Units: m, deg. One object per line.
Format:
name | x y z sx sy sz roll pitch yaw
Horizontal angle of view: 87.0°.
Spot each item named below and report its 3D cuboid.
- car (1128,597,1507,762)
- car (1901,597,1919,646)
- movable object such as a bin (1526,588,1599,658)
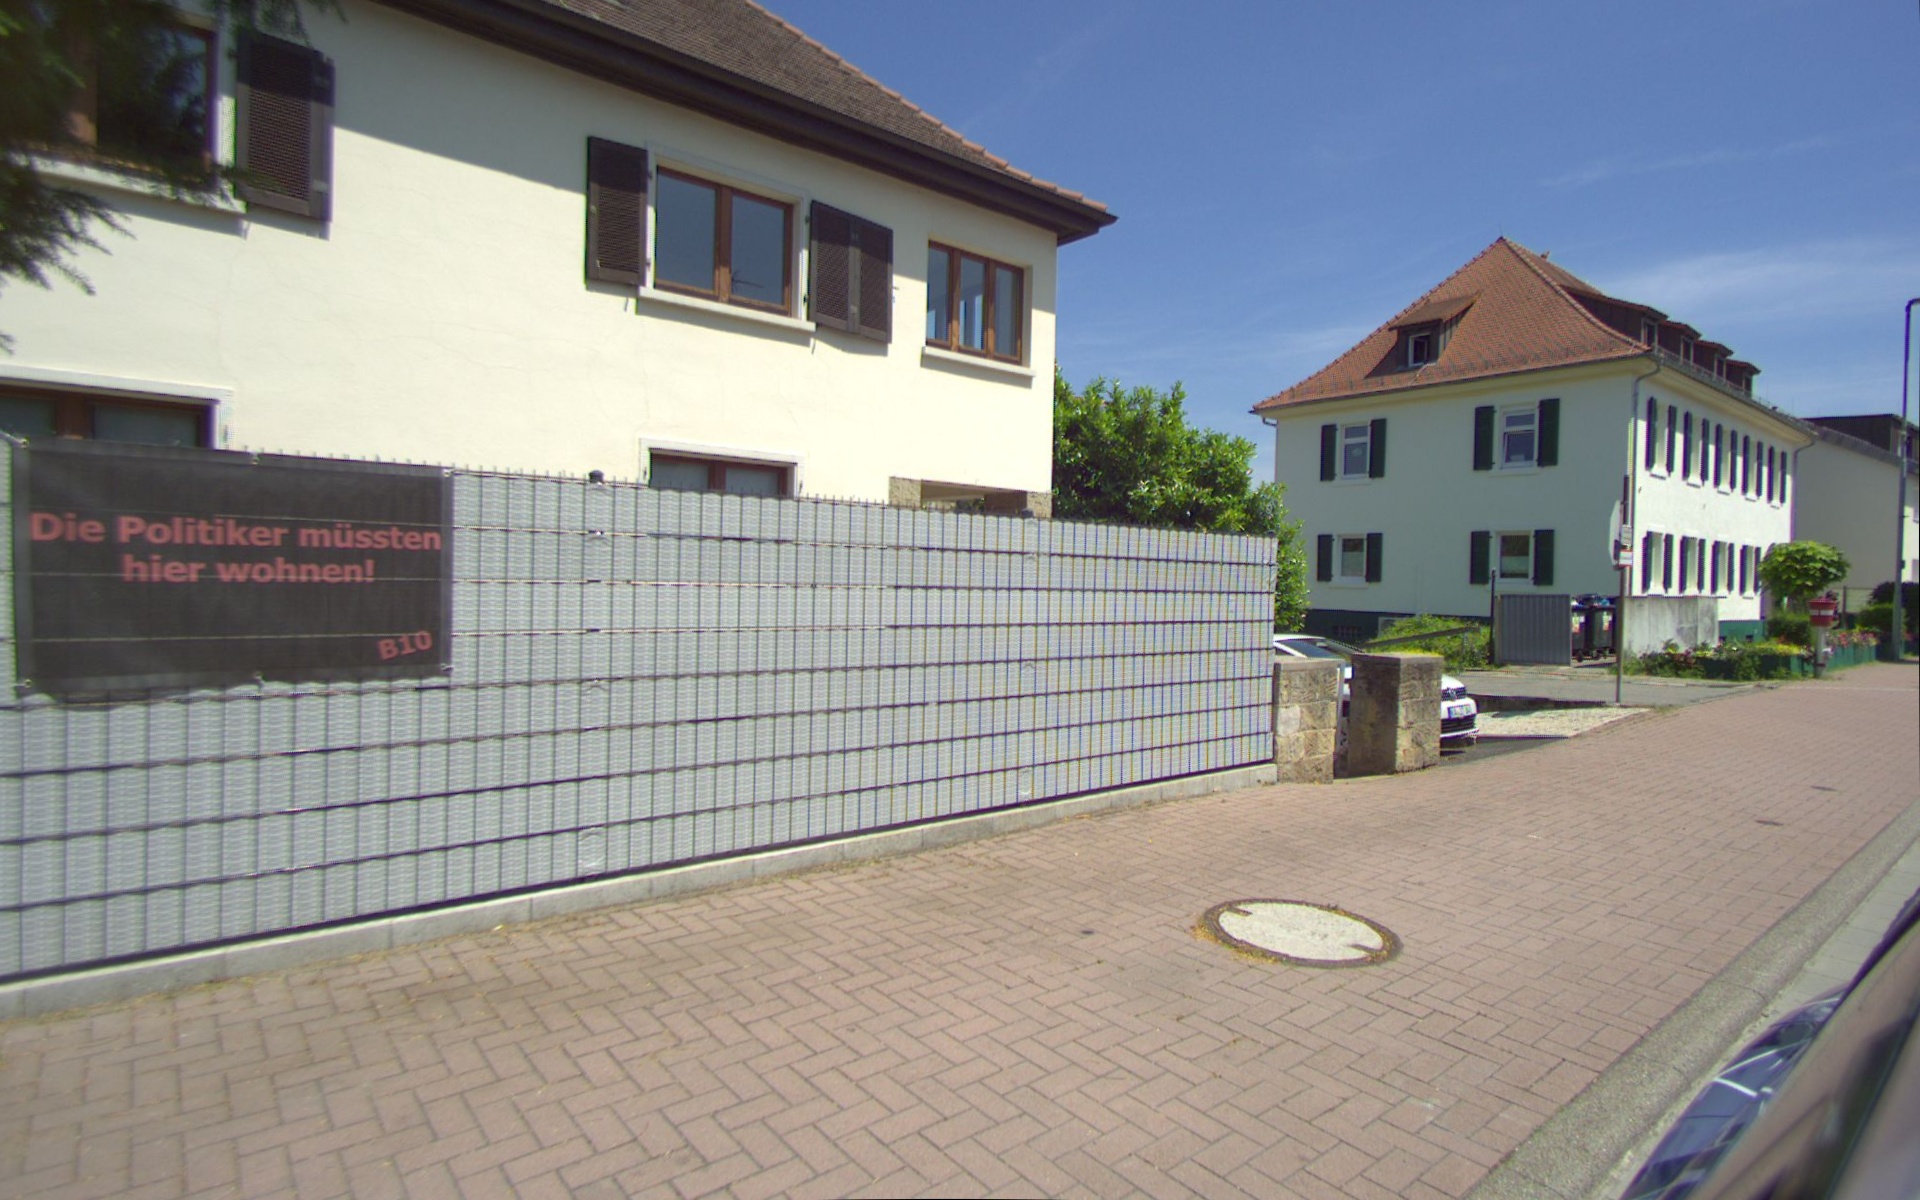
car | 4.099 1.045 12.237 1.606 1.572 3.965 0 -9 -36
car | 31.891 0.665 32.704 4.355 1.549 1.509 0 0 -38
movable object such as a bin | 12.827 0.489 21.562 0.884 1.449 1.052 0 -2 -38
